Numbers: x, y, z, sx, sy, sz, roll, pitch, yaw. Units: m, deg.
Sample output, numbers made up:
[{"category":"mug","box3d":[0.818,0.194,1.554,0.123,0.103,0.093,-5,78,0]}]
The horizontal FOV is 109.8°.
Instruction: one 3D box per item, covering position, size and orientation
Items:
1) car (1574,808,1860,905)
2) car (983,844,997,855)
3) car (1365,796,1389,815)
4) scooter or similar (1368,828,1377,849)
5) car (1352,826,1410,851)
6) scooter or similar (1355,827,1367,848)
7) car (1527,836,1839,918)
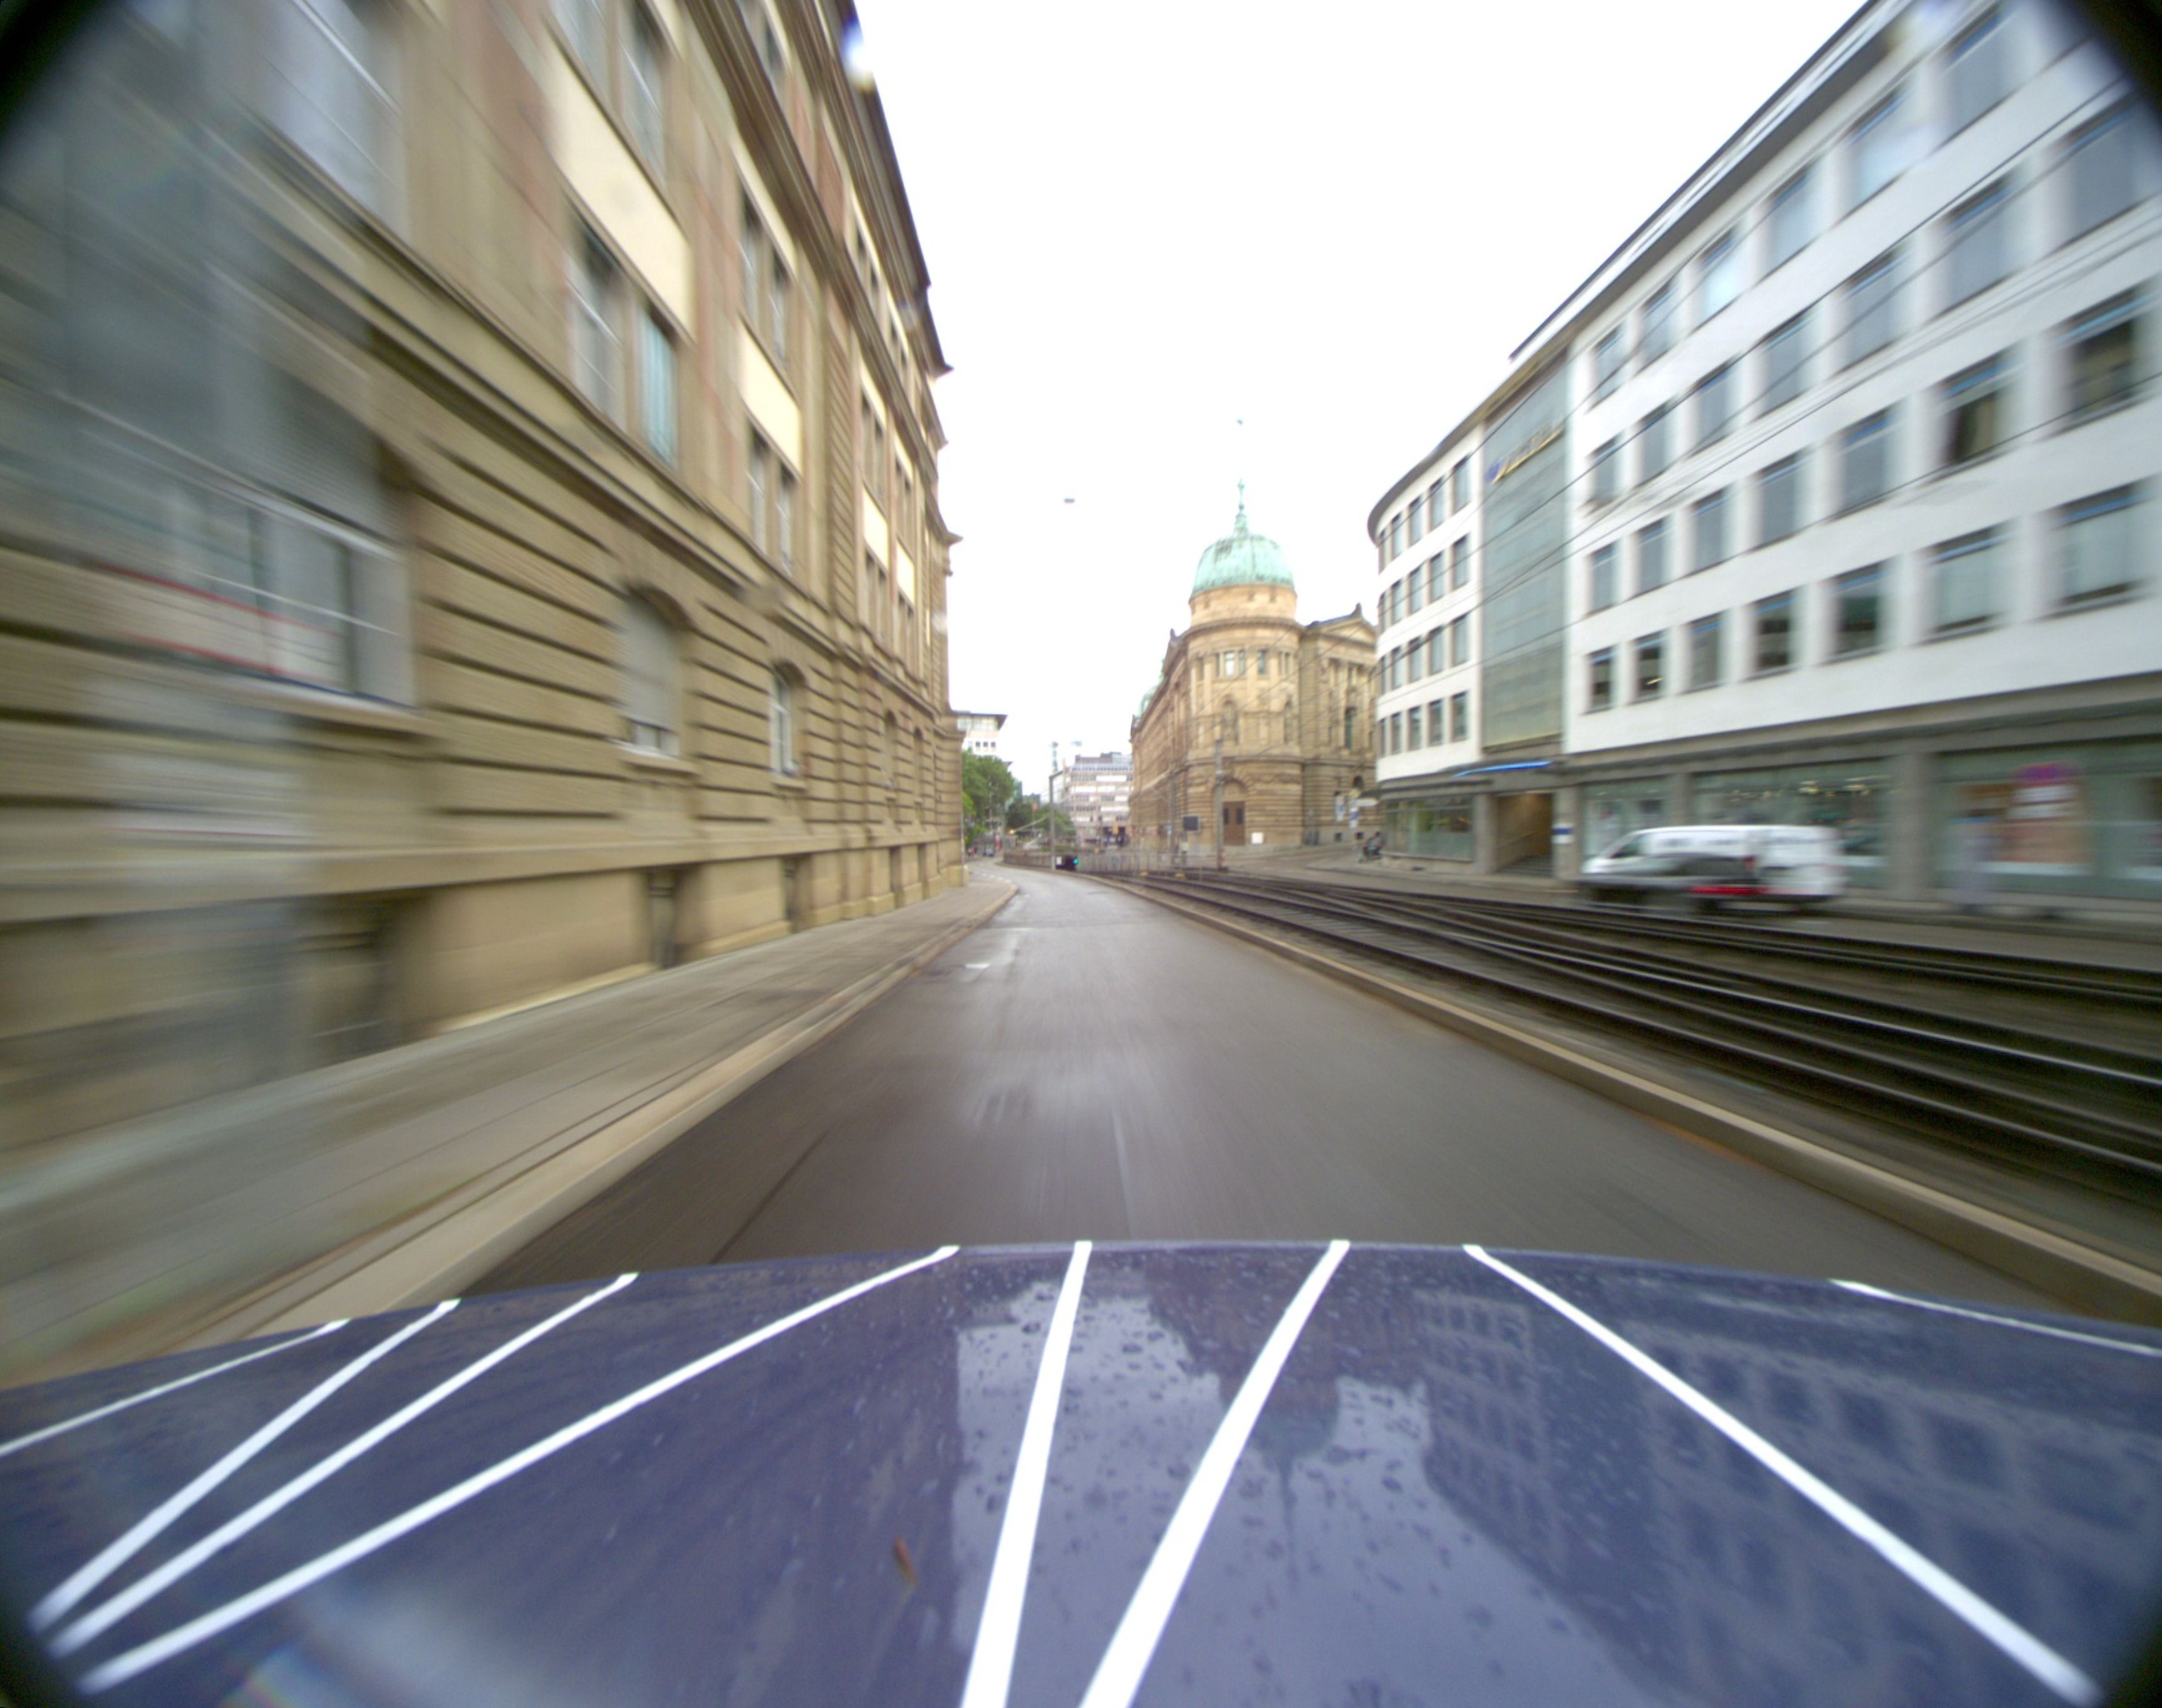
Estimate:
[{"category":"car","box3d":[14.198,-0.056,17.515,1.999,1.832,5.127,-3,3,-5]},{"category":"car","box3d":[-16.126,-0.827,134.604,2.000,1.806,3.994,-3,3,-12]},{"category":"car","box3d":[27.515,-4.518,70.590,1.995,1.631,4.004,-1,3,22]},{"category":"scooter or similar","box3d":[17.304,-0.936,45.131,0.410,1.194,1.561,-1,3,20]},{"category":"car","box3d":[19.720,-1.042,49.841,4.334,1.390,1.780,-5,4,-42]},{"category":"scooter or similar","box3d":[16.767,-0.977,45.489,0.410,1.194,1.561,-2,3,13]},{"category":"car","box3d":[11.135,0.307,14.633,1.999,1.248,4.691,0,2,-5]}]
